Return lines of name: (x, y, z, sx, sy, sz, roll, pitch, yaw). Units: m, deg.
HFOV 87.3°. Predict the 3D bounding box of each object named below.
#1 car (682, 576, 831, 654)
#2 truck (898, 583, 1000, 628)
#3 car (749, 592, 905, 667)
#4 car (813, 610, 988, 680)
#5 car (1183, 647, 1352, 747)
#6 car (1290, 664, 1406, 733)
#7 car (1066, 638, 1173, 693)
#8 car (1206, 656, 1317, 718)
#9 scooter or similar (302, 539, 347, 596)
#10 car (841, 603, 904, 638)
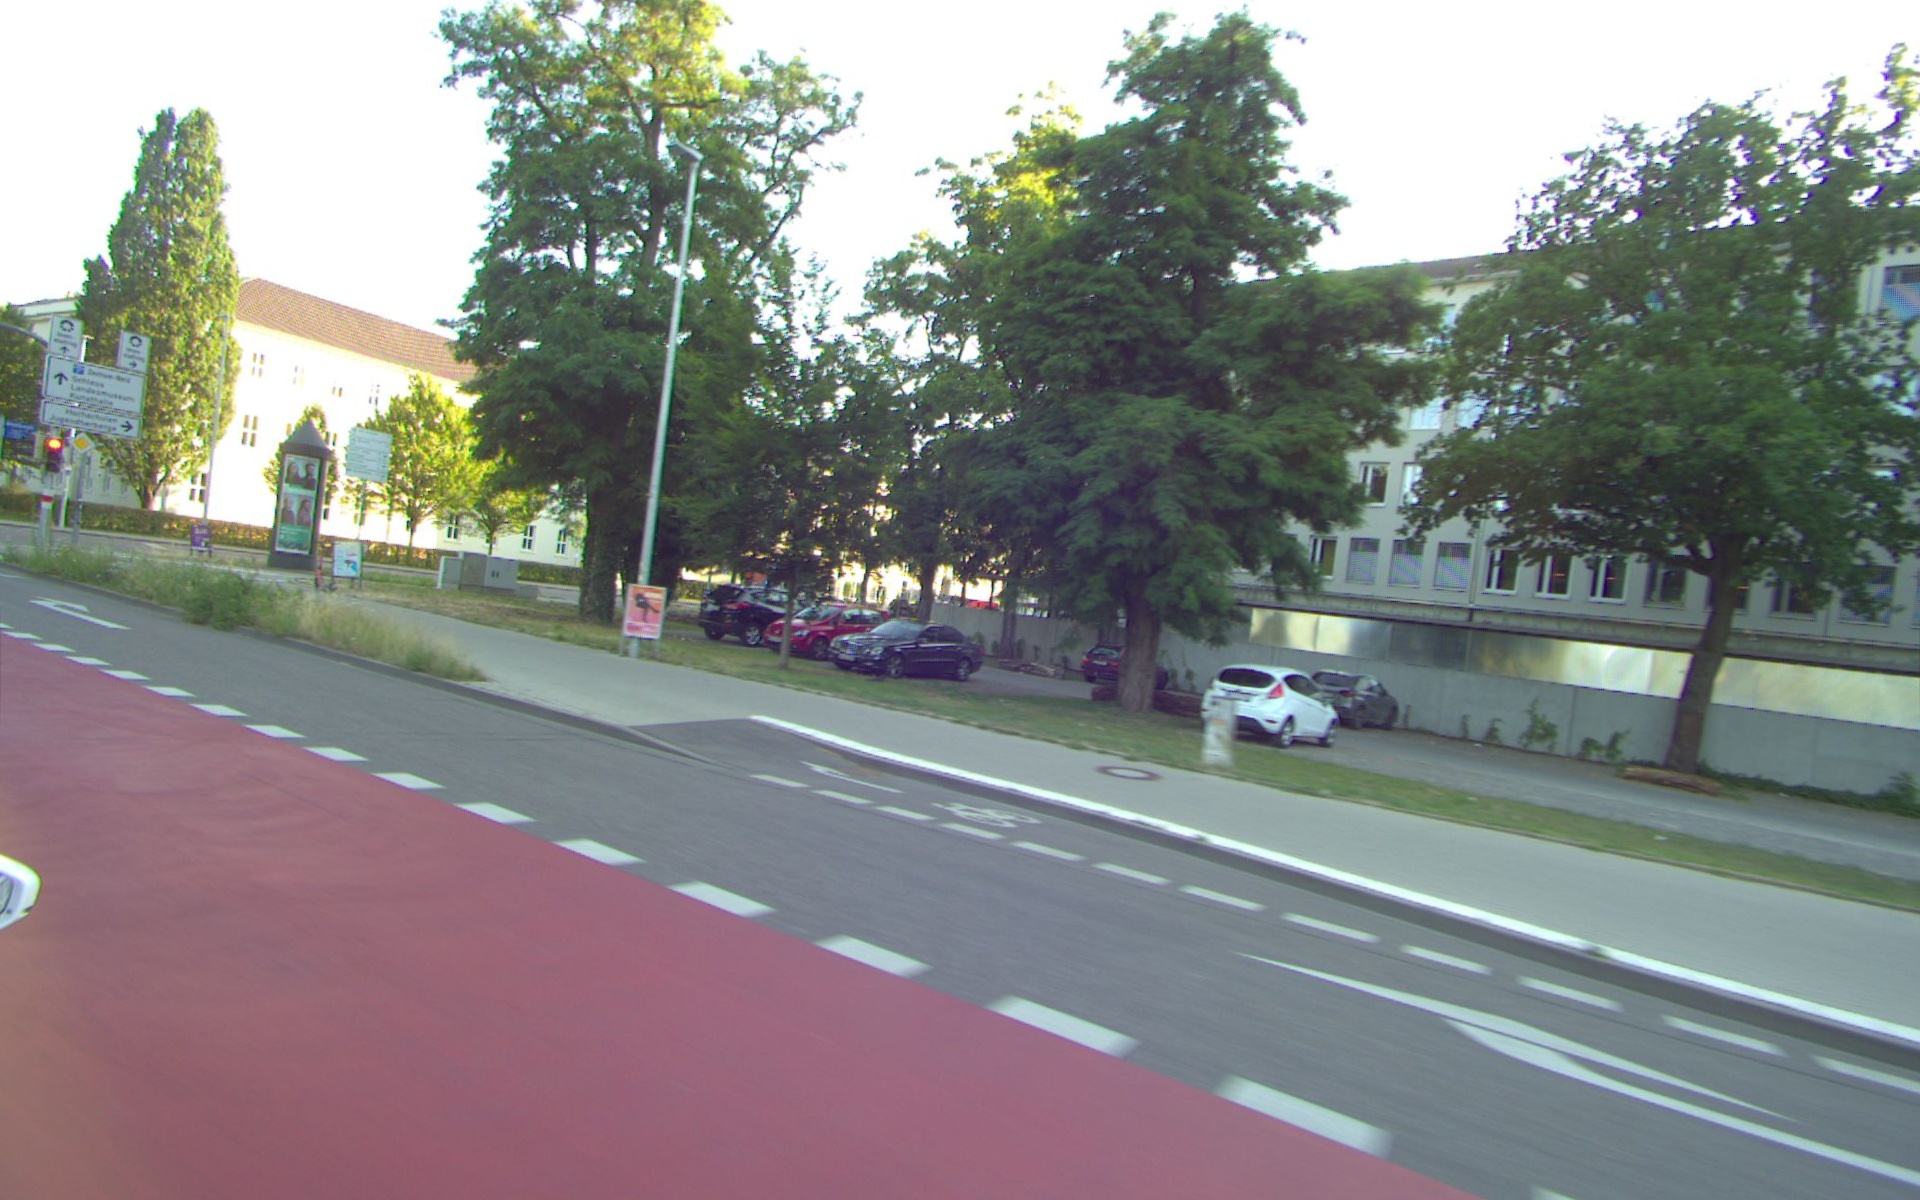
car: (-5.883, 0.469, 29.417, 1.808, 1.714, 3.900, 7, -2, 37)
truck: (-0.671, 0.502, 78.749, 2.328, 2.314, 10.052, 7, -2, 35)
car: (-3.562, 0.849, 27.516, 1.759, 1.580, 3.985, 7, -1, 39)
car: (-1.384, 1.174, 25.335, 1.871, 1.467, 4.568, 5, 0, 35)
car: (6.215, 1.978, 20.053, 1.882, 1.555, 3.990, 7, -2, 36)
car: (11.752, 2.991, 30.340, 1.887, 1.635, 3.984, 6, -3, 41)
car: (5.631, 2.311, 35.094, 1.874, 1.458, 3.988, 7, -2, 38)
car: (9.546, 2.771, 31.693, 1.807, 1.492, 3.986, 7, -2, 40)
scooter or similar: (-15.413, -0.785, 24.395, 1.289, 1.246, 0.311, 7, 0, 33)
car: (-5.752, 1.370, 66.476, 1.721, 1.782, 3.990, 7, -2, 36)
